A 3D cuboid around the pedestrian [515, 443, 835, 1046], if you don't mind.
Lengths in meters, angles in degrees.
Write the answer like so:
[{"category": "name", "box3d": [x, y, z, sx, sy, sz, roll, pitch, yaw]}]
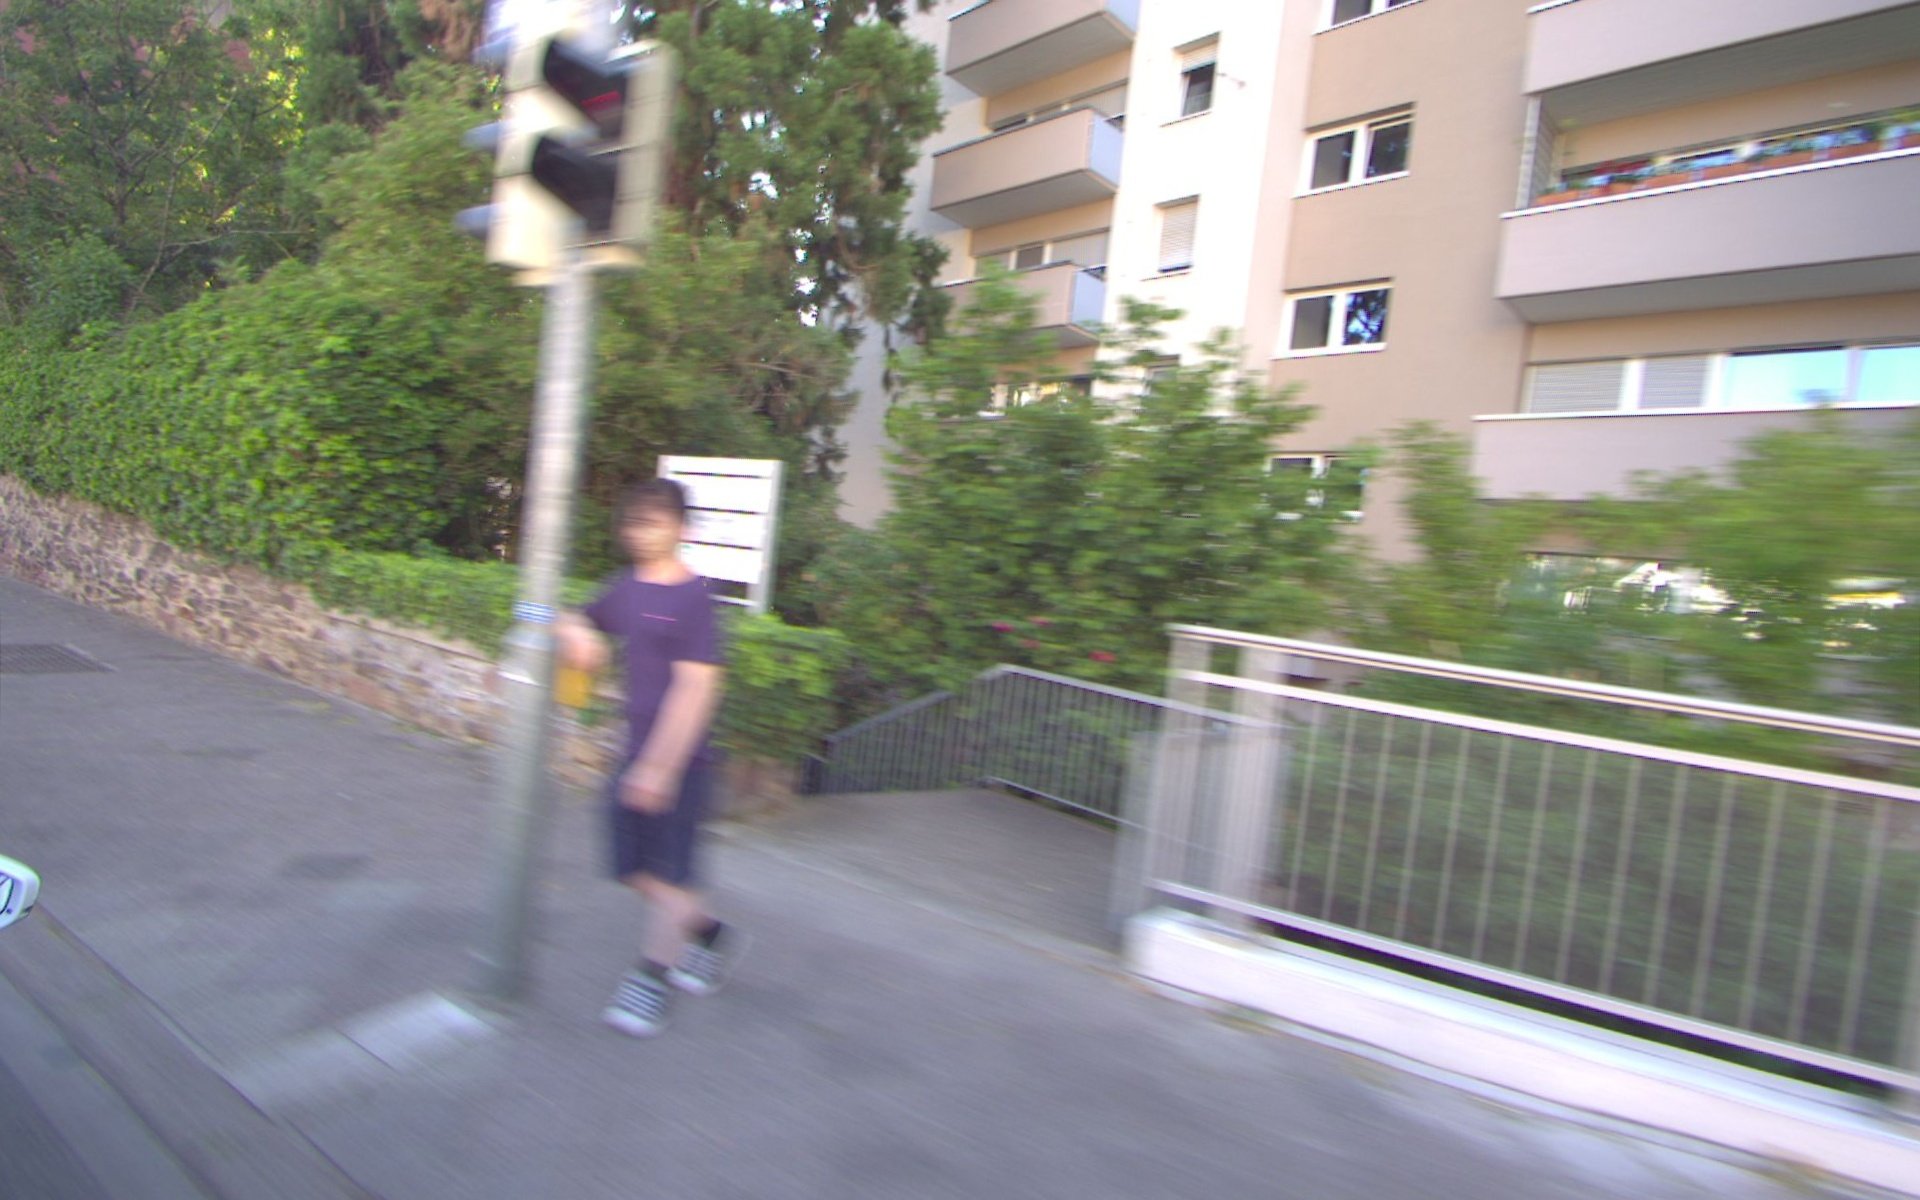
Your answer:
[{"category": "pedestrian", "box3d": [-0.922, 0.408, 3.269, 0.602, 1.716, 0.602, 9, 4, 34]}]
